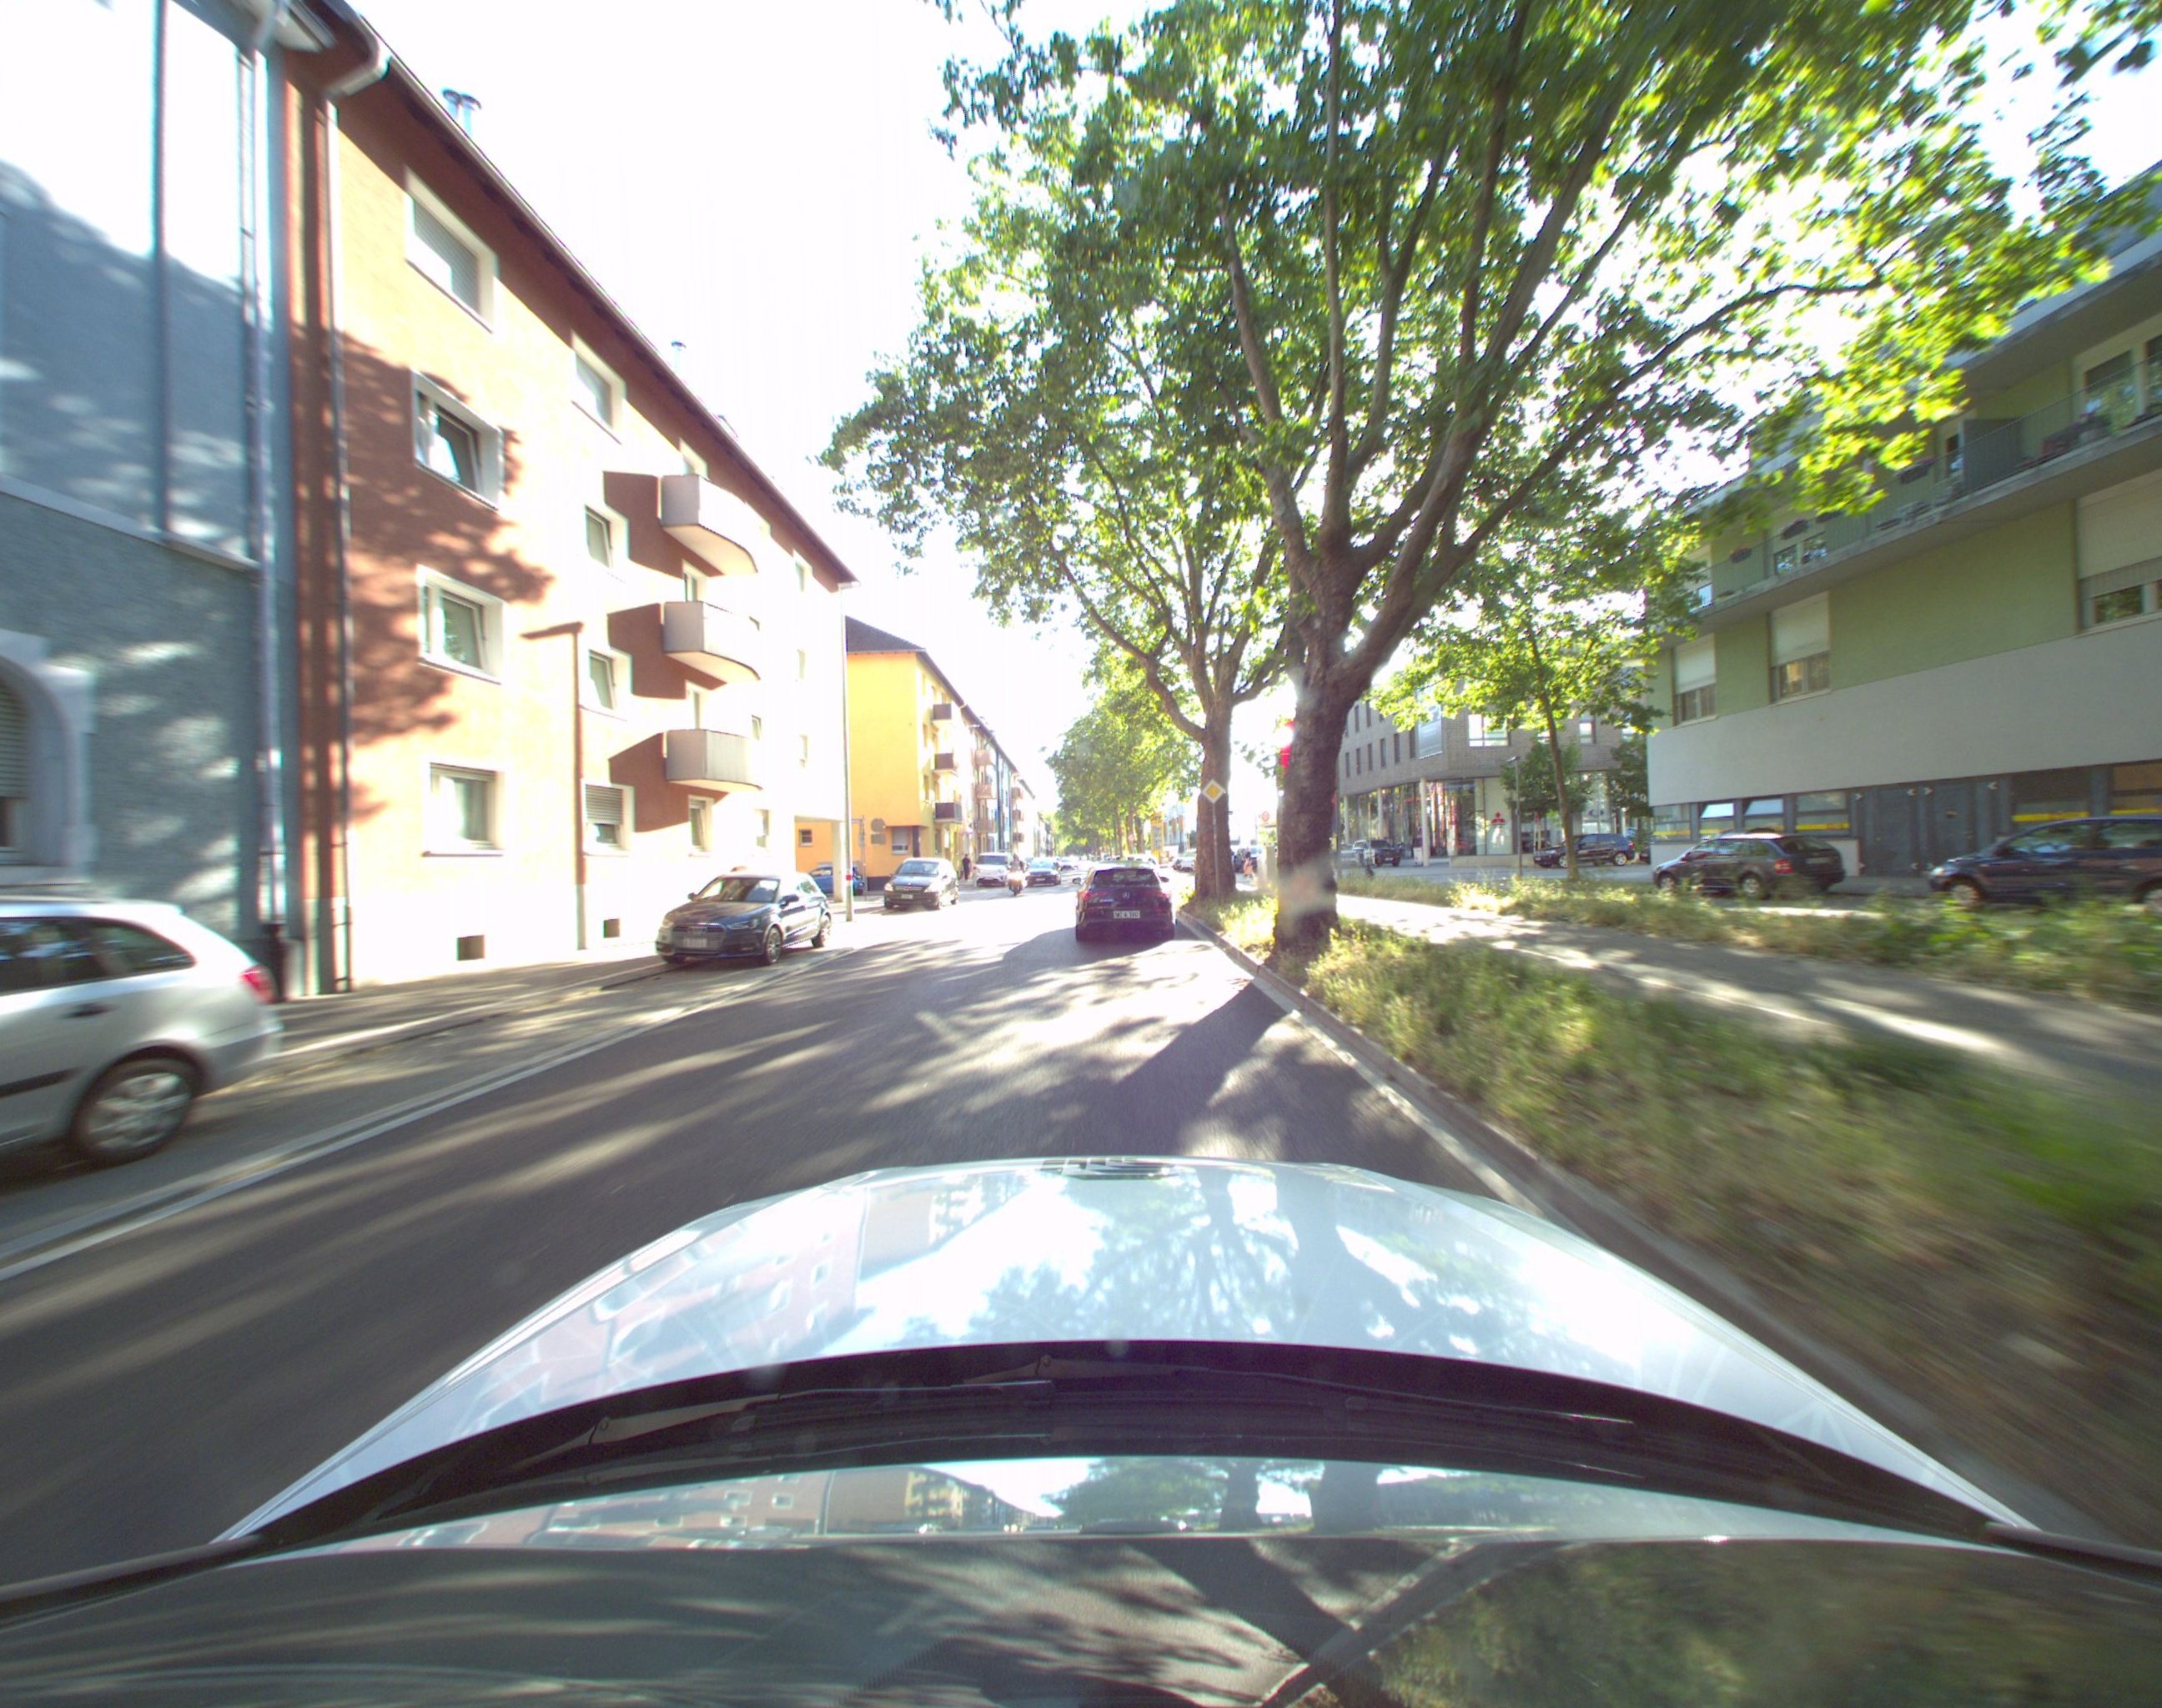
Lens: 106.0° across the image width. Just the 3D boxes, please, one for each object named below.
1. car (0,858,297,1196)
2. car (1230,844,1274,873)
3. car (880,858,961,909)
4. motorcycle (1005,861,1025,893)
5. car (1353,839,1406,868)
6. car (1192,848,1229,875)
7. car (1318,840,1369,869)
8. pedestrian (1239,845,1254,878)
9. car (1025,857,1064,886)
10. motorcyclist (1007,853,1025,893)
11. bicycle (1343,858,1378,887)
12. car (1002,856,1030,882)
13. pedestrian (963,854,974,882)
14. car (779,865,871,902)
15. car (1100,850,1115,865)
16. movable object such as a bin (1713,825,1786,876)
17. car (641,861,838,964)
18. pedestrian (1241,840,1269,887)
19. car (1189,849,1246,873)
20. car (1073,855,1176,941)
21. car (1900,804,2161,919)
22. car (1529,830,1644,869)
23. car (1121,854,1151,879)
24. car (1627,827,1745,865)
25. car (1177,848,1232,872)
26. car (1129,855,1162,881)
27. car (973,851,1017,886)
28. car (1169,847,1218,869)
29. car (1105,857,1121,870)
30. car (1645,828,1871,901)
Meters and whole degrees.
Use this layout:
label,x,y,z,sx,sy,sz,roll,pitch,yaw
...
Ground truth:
label,x,y,z,sx,sy,sz,roll,pitch,yaw
car,-6.120,0.846,3.426,1.671,1.641,3.987,0,0,2
car,11.170,0.289,53.531,1.821,1.731,4.365,-2,0,-2
car,-5.154,0.909,26.664,1.671,1.523,4.023,0,0,2
motorcycle,-2.721,0.948,33.700,0.545,1.241,2.264,-4,-1,1
car,19.365,-0.045,53.069,1.978,1.733,4.182,-2,0,1
car,8.482,0.474,53.461,1.746,1.669,4.158,-2,0,0
car,17.031,0.061,53.004,1.870,1.733,4.178,-2,0,-2
pedestrian,8.846,0.396,43.449,0.687,1.723,0.724,-2,-1,14
car,-1.943,0.925,44.867,1.765,1.478,4.323,-2,0,1
motorcyclist,-2.698,0.780,33.773,0.584,1.605,0.831,-2,0,1
bicycle,9.960,0.653,29.102,0.383,1.003,1.478,-2,0,-15
car,-4.694,1.075,59.307,1.740,1.787,4.548,0,0,-1
pedestrian,-7.485,0.926,54.241,0.585,1.790,0.642,-2,-1,1
car,-12.229,1.404,39.110,3.770,1.567,1.749,-2,-1,1
car,3.968,0.556,123.590,1.989,2.014,3.995,-1,-2,-3
movable object such as a bin,20.241,-0.093,24.704,1.185,1.463,1.412,-2,0,12
car,-5.567,0.876,13.780,1.671,1.486,3.603,0,0,2
pedestrian,6.772,0.366,31.758,0.768,1.761,0.661,-4,0,-13
car,9.682,0.465,57.619,3.834,1.545,1.645,-2,0,-33
car,0.832,0.746,15.770,1.737,1.443,3.971,0,0,3
car,15.550,0.071,12.673,1.852,1.552,3.761,-2,0,1
car,25.247,-0.226,40.780,4.471,1.662,2.029,-3,0,-2
car,3.830,0.866,57.647,1.804,1.539,4.584,-5,-1,1
car,30.393,-0.408,41.013,4.471,1.662,2.029,-3,0,-2
car,9.137,0.435,60.239,3.836,1.609,1.722,-3,0,-35
car,3.965,0.856,50.814,1.630,1.468,4.019,-3,-1,-1
car,-4.905,0.804,47.156,1.727,1.907,5.212,-1,0,2
car,9.245,0.334,66.880,3.837,1.578,1.727,-3,0,-37
car,3.886,1.113,98.347,1.717,1.557,3.599,0,-1,-1
car,15.713,0.222,19.232,1.853,1.468,4.122,-2,0,-1
